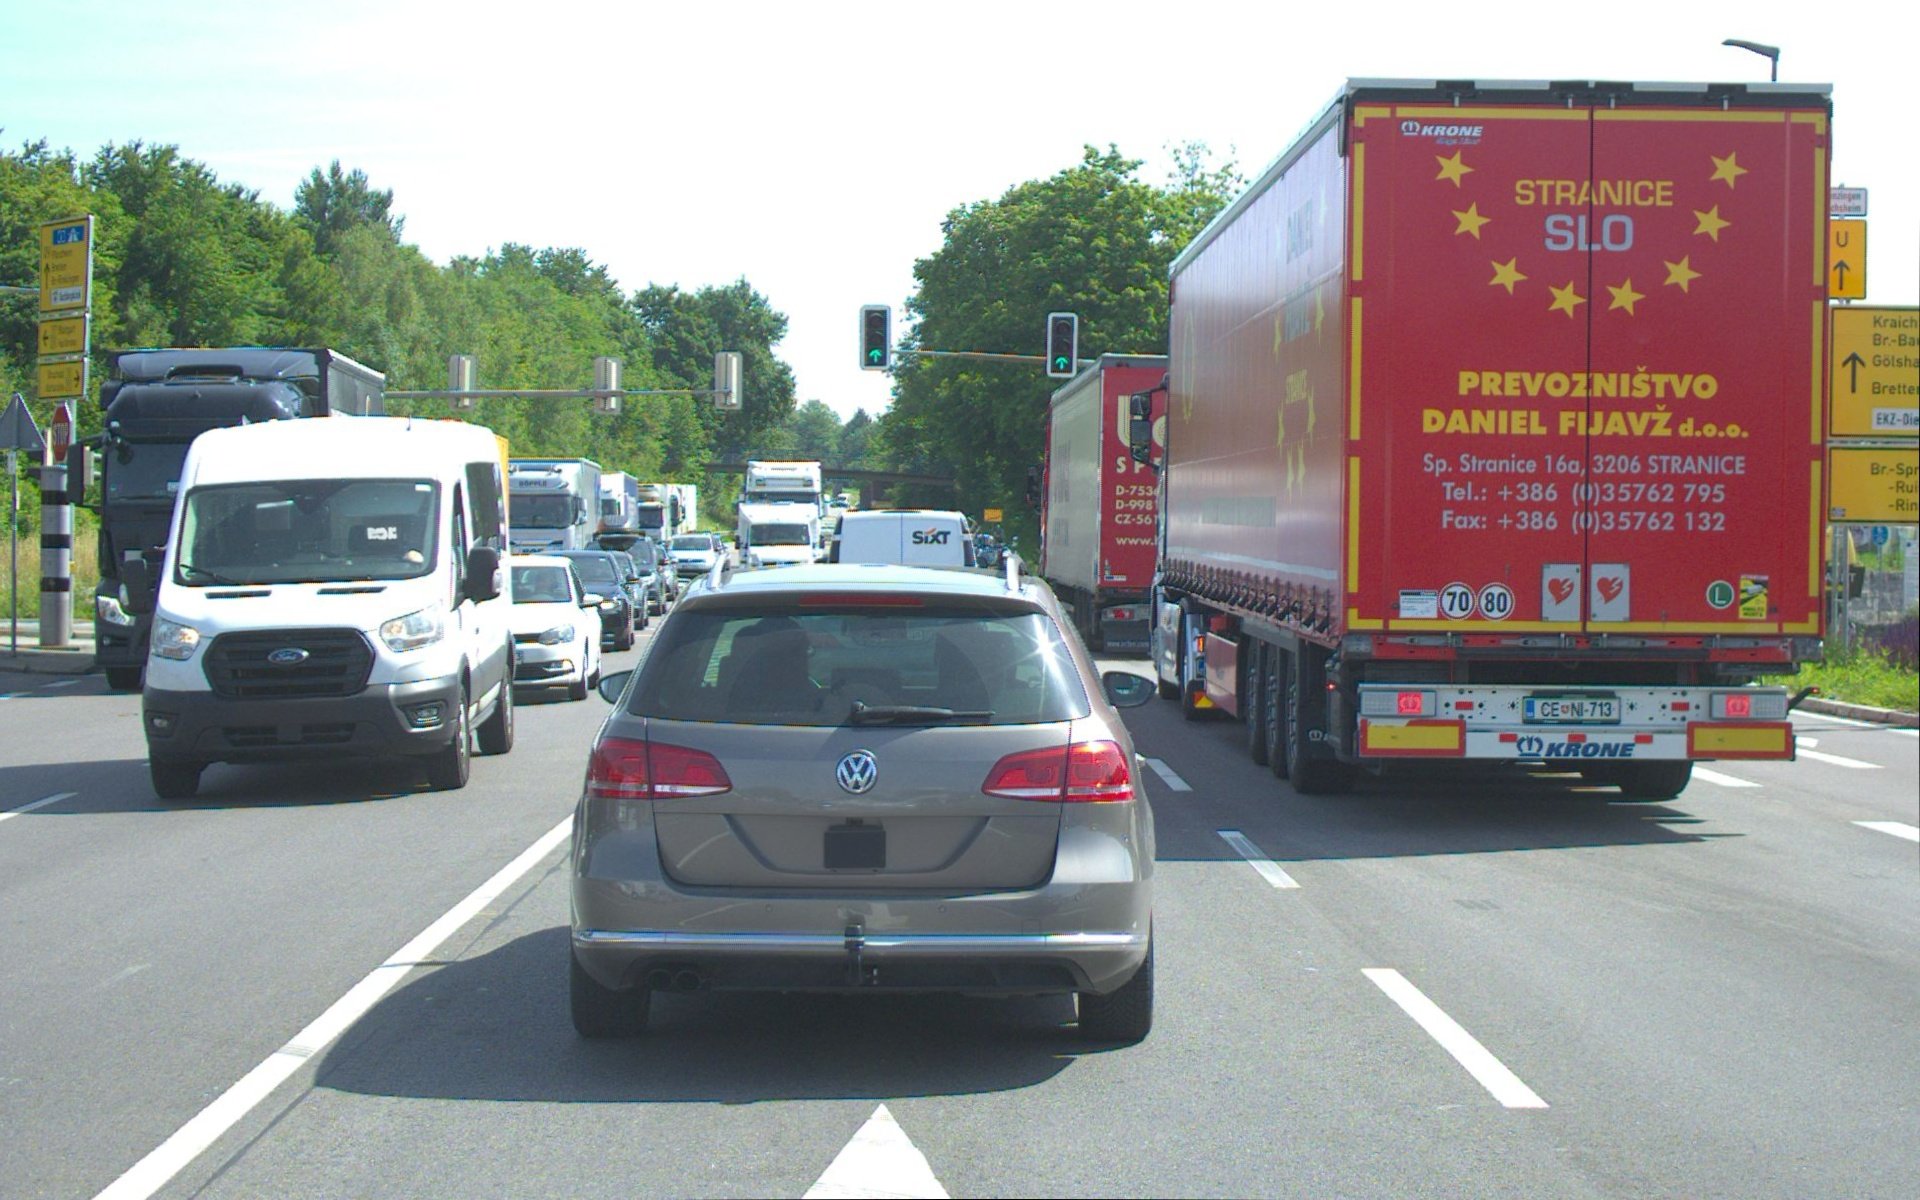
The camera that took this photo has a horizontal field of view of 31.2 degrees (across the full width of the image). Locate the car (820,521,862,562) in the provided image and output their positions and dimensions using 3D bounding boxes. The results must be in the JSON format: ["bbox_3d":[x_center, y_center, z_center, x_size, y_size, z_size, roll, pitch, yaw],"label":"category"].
[{"bbox_3d":[-5.959,-2.939,171.735,1.993,2.007,4.001,0,1,-3],"label":"car"}]

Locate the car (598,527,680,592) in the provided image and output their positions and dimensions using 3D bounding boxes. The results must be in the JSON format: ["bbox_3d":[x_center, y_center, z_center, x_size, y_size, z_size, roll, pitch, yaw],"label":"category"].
[{"bbox_3d":[-8.425,-1.082,90.522,1.921,1.596,4.589,-1,2,-3],"label":"car"}]

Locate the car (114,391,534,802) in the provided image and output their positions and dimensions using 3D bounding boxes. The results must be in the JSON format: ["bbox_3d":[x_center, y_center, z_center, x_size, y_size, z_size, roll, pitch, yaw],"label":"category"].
[{"bbox_3d":[-4.321,-0.085,24.552,2.058,2.501,7.115,0,1,-3],"label":"car"}]

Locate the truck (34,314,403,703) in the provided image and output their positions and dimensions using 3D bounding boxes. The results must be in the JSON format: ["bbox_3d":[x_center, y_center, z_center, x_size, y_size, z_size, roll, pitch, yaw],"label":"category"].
[{"bbox_3d":[-8.412,-1.027,40.271,2.710,3.984,9.978,0,1,-3],"label":"truck"}]

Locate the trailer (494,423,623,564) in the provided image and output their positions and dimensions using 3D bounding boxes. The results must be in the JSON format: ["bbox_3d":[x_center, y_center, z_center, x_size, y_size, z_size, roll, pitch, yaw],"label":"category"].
[{"bbox_3d":[-12.504,-3.257,108.146,2.691,4.133,13.881,0,1,-1],"label":"trailer"}]

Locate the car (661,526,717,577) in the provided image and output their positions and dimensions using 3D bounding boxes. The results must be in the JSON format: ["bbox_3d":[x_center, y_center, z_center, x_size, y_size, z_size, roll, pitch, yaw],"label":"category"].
[{"bbox_3d":[-9.766,-1.775,124.039,1.843,1.726,4.589,2,2,-3],"label":"car"}]

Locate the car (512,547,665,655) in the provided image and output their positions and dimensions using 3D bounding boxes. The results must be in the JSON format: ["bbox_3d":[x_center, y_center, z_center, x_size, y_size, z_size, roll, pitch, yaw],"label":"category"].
[{"bbox_3d":[-5.366,-0.018,50.079,1.711,1.438,4.379,-2,1,0],"label":"car"}]

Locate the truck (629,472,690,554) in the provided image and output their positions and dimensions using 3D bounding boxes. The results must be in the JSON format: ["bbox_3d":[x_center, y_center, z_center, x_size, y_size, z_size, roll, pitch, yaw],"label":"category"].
[{"bbox_3d":[-15.075,-4.342,173.137,2.728,3.985,9.621,0,1,-3],"label":"truck"}]

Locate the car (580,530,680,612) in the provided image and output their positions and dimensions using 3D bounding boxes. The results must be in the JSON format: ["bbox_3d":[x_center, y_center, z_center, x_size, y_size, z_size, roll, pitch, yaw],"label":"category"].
[{"bbox_3d":[-6.998,-0.645,73.290,1.908,1.596,4.589,-1,2,-3],"label":"car"}]

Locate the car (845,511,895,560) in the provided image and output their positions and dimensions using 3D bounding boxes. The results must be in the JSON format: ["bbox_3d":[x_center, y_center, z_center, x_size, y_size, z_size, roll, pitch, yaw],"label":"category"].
[{"bbox_3d":[-3.753,-2.684,142.515,1.993,2.007,4.001,0,1,-3],"label":"car"}]

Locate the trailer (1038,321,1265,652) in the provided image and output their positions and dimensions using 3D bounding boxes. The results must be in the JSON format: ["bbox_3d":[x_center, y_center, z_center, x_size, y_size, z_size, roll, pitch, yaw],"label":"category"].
[{"bbox_3d":[2.602,-1.564,50.489,2.395,4.229,13.079,0,1,-1],"label":"trailer"}]

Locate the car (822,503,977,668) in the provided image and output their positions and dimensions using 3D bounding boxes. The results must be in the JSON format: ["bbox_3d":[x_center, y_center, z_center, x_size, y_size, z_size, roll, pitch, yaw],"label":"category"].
[{"bbox_3d":[-0.789,-0.210,42.343,1.770,1.930,3.978,0,1,-3],"label":"car"}]

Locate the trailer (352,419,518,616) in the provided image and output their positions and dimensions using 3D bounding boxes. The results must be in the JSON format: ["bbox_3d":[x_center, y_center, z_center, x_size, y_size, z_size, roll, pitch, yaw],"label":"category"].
[{"bbox_3d":[-11.434,-1.787,75.834,2.720,3.984,12.237,0,1,-5],"label":"trailer"}]

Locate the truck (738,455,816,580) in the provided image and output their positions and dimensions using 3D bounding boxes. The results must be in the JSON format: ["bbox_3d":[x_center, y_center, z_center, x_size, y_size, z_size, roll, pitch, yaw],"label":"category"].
[{"bbox_3d":[-6.176,-2.732,115.275,2.536,4.074,6.267,0,1,-4],"label":"truck"}]

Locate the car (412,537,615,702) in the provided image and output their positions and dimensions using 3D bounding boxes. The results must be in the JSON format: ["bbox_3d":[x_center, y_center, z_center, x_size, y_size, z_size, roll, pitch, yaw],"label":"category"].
[{"bbox_3d":[-4.526,0.155,35.293,1.653,1.550,4.000,-2,1,-2],"label":"car"}]

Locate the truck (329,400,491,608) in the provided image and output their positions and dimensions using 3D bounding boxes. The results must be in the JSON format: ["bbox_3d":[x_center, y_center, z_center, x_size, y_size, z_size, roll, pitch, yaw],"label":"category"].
[{"bbox_3d":[-10.931,-1.894,68.829,2.720,3.984,6.058,0,1,-5],"label":"truck"}]

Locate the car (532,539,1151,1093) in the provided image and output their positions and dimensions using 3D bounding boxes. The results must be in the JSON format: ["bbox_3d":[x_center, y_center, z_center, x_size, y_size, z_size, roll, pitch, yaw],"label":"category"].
[{"bbox_3d":[-0.429,0.553,11.415,1.691,1.508,4.001,0,1,-3],"label":"car"}]

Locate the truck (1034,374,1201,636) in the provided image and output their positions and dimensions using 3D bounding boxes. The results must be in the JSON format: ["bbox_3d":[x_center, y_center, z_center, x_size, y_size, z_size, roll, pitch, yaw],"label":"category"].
[{"bbox_3d":[2.537,-1.536,56.750,2.406,4.113,5.521,0,1,-1],"label":"truck"}]

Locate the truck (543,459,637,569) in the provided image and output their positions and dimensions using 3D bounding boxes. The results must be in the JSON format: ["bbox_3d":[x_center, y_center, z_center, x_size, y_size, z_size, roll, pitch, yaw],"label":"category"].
[{"bbox_3d":[-13.969,-3.247,130.149,3.187,4.065,6.347,0,1,-3],"label":"truck"}]

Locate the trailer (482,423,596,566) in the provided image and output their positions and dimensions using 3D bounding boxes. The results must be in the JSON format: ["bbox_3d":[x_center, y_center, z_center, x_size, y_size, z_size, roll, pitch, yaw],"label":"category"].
[{"bbox_3d":[-12.389,-3.084,101.521,2.645,4.091,6.181,0,1,-1],"label":"trailer"}]

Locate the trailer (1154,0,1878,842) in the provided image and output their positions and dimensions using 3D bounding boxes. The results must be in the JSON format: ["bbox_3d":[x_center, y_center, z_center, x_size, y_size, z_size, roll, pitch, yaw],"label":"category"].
[{"bbox_3d":[3.256,-1.074,24.453,2.839,4.350,13.168,2,1,0],"label":"trailer"}]

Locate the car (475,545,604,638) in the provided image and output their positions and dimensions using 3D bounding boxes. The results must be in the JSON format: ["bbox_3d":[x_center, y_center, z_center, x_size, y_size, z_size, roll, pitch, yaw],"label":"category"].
[{"bbox_3d":[-7.497,-0.181,61.652,1.861,1.519,4.589,-1,2,-2],"label":"car"}]

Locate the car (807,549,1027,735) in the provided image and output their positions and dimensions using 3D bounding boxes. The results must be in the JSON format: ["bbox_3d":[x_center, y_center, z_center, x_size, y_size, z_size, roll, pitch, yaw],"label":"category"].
[{"bbox_3d":[-0.442,0.315,30.291,1.770,1.508,4.001,0,1,-3],"label":"car"}]

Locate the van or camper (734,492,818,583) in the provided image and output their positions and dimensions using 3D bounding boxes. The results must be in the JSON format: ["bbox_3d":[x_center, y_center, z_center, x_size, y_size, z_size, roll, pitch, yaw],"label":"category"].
[{"bbox_3d":[-5.393,-1.837,101.536,2.330,2.591,6.979,0,1,-2],"label":"van or camper"}]

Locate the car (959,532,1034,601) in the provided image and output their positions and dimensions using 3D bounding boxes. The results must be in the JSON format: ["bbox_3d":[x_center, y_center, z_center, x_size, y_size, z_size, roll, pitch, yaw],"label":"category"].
[{"bbox_3d":[1.065,-1.011,101.811,1.993,2.007,4.001,0,1,-3],"label":"car"}]

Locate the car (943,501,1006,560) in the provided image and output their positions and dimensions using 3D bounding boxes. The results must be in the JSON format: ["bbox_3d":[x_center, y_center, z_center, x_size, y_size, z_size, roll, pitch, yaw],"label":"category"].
[{"bbox_3d":[0.491,-2.418,119.902,1.993,2.007,4.001,0,1,-3],"label":"car"}]

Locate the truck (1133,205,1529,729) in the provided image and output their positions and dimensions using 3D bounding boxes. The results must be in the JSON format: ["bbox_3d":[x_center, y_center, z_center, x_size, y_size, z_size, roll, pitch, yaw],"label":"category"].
[{"bbox_3d":[3.236,-1.157,31.541,2.870,4.266,5.839,2,1,0],"label":"truck"}]
